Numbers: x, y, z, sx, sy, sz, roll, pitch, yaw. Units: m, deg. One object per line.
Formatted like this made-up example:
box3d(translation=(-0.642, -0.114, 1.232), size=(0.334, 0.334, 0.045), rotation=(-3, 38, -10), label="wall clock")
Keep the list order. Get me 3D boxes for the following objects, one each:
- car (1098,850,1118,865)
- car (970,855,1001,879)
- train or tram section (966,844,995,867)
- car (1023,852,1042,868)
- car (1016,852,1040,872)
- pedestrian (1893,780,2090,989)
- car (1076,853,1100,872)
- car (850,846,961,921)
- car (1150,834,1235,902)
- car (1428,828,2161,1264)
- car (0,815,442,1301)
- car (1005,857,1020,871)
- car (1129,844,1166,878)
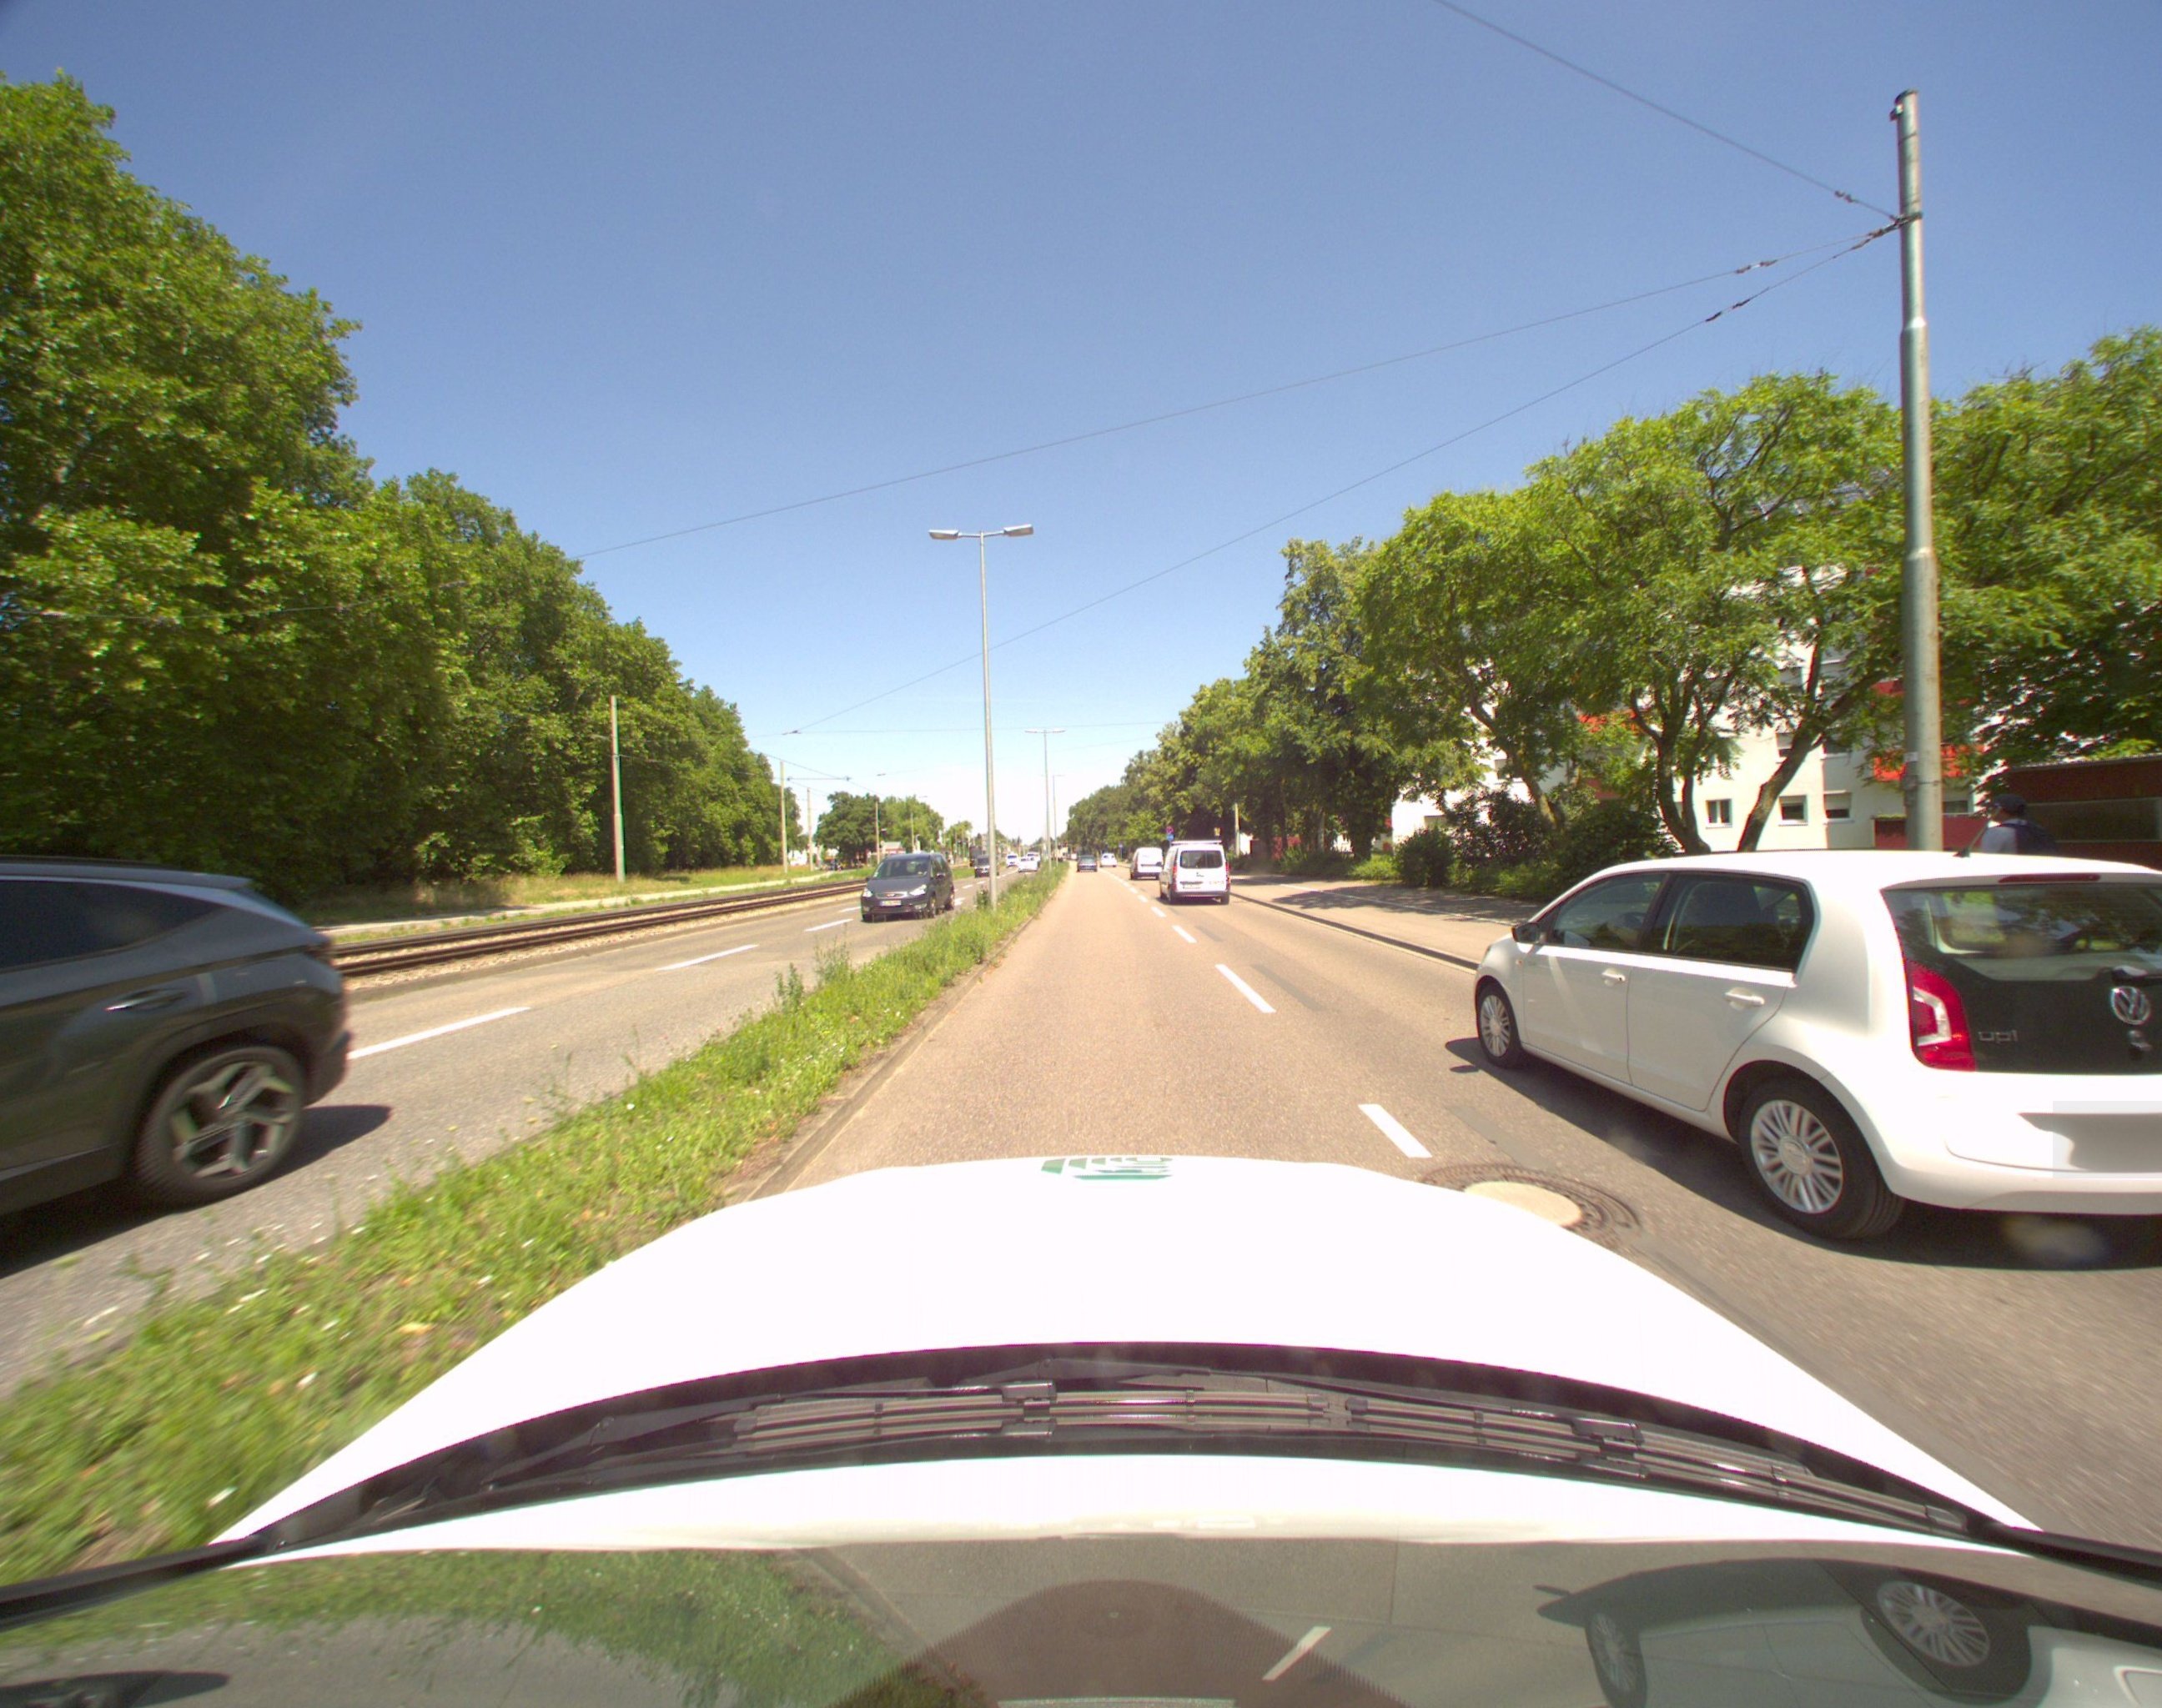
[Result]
box3d(translation=(3.015, 0.415, 91.297), size=(1.799, 1.540, 3.995), rotation=(-2, 0, -4), label="car")
box3d(translation=(-7.860, 1.066, 67.499), size=(1.823, 1.801, 4.615), rotation=(-3, 0, 1), label="car")
box3d(translation=(-18.266, 0.317, 150.536), size=(2.782, 3.668, 37.468), rotation=(-2, 0, -3), label="train or tram section")
box3d(translation=(-6.204, 0.780, 104.790), size=(1.823, 1.906, 5.567), rotation=(-3, 0, 1), label="car")
box3d(translation=(-5.052, 0.752, 78.150), size=(1.823, 1.738, 4.038), rotation=(-3, 0, 1), label="car")
box3d(translation=(7.665, 0.242, 6.900), size=(0.666, 1.644, 0.856), rotation=(-2, 0, 0), label="pedestrian")
box3d(translation=(0.558, 0.706, 69.150), size=(1.798, 1.486, 3.995), rotation=(-2, 0, -3), label="car")
box3d(translation=(-4.630, 0.717, 22.223), size=(1.823, 1.713, 4.794), rotation=(-3, 0, 1), label="car")
box3d(translation=(3.347, 0.401, 25.291), size=(1.820, 1.882, 4.451), rotation=(-1, 0, -3), label="car")
box3d(translation=(3.617, 0.641, 4.662), size=(1.653, 1.449, 3.855), rotation=(-1, 0, 1), label="car")
box3d(translation=(-4.856, 0.787, 2.685), size=(1.823, 1.756, 4.488), rotation=(-3, 0, 1), label="car")
box3d(translation=(-10.349, 1.525, 123.498), size=(1.884, 2.017, 5.079), rotation=(-4, 0, -2), label="car")
box3d(translation=(3.692, 0.352, 45.956), size=(1.722, 1.814, 3.999), rotation=(-1, 0, -1), label="car")
